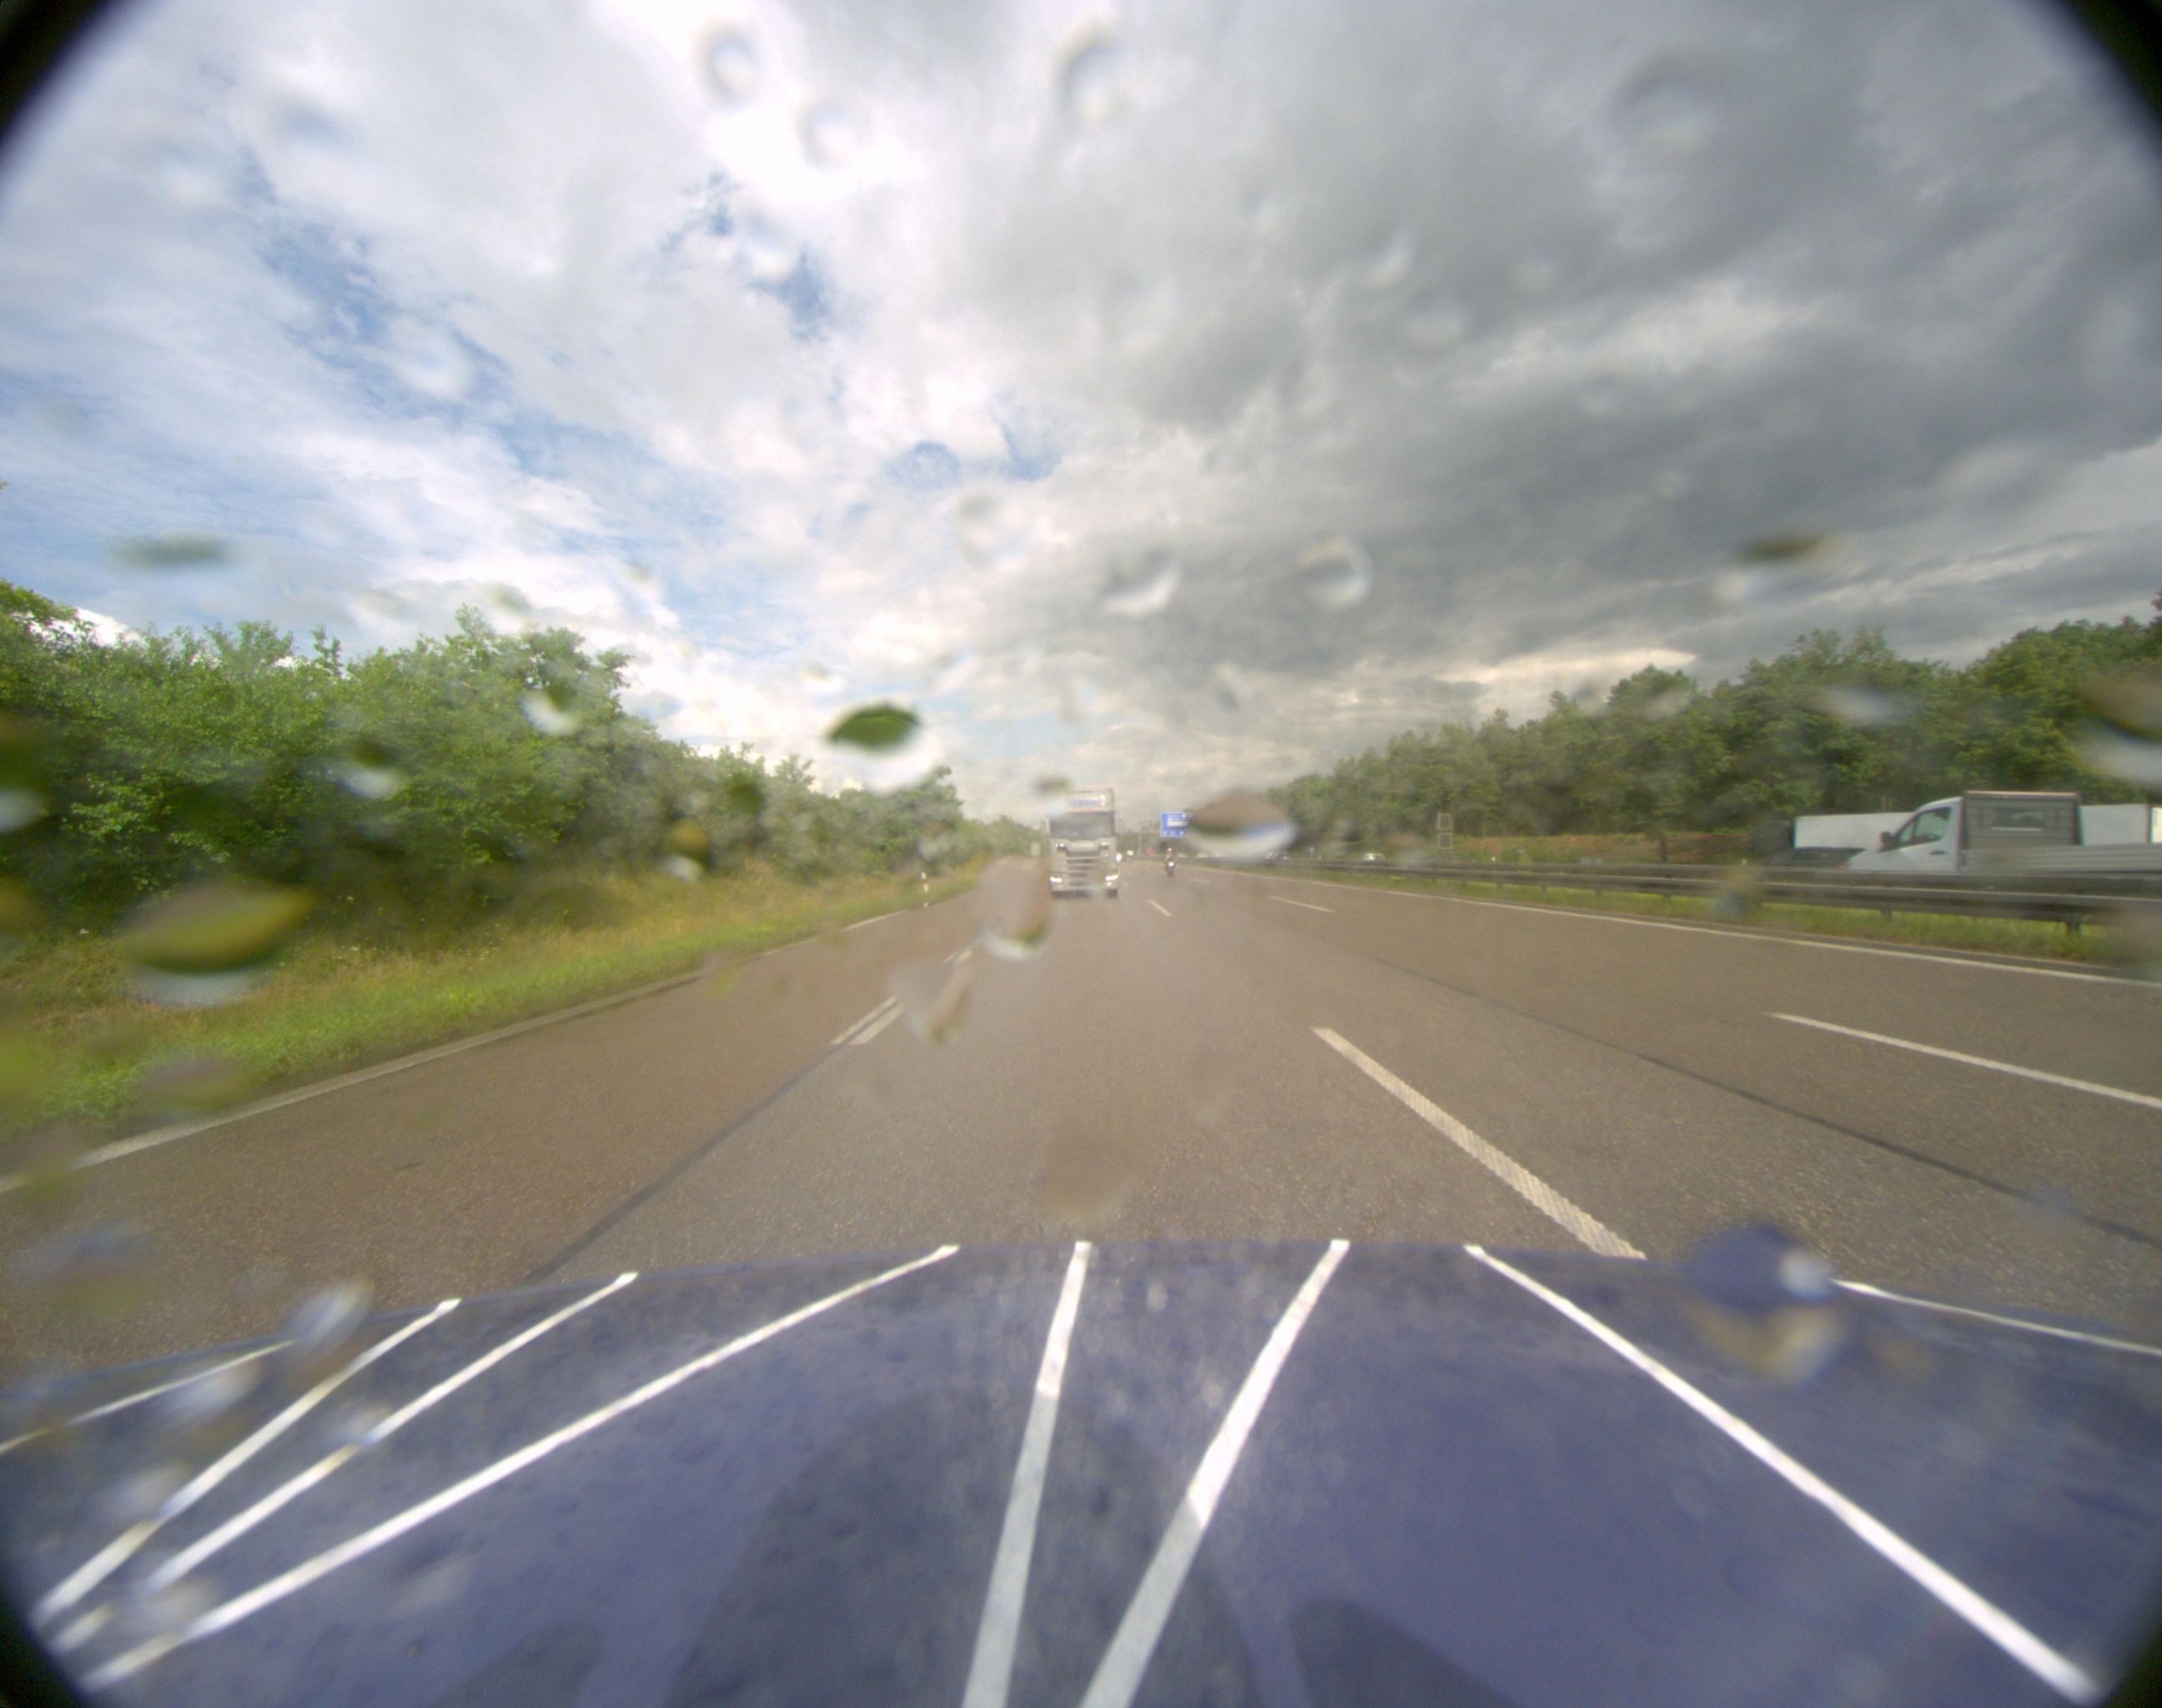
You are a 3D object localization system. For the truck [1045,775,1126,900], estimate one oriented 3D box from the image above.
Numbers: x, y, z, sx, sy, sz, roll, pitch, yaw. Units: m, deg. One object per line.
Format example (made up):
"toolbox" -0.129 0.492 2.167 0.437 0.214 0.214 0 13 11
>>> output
"truck" 0.020 -0.629 29.871 2.650 4.250 6.882 -2 1 -2

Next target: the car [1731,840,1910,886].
"car" 25.107 0.256 26.059 1.835 1.384 4.433 -2 1 1

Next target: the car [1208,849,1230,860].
"car" 17.962 0.048 99.359 1.903 1.384 5.420 -2 1 1

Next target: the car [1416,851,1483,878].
"car" 21.759 0.594 45.028 1.835 1.384 4.433 -2 1 1

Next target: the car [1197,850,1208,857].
"car" 21.755 -0.095 135.950 1.449 1.051 3.114 -2 1 1

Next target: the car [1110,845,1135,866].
"car" 5.423 0.148 100.150 2.650 2.460 6.882 -2 1 -2

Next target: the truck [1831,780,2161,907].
"truck" 17.115 -0.229 13.491 2.262 1.884 5.445 -2 1 1

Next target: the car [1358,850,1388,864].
"car" 25.864 0.257 67.367 1.449 1.051 3.114 -2 1 1

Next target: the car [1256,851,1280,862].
"car" 24.890 0.295 101.159 1.978 1.384 5.158 -2 1 1

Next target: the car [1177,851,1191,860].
"car" 18.380 0.301 135.638 1.903 1.384 5.420 -2 1 1

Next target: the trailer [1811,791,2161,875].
"trailer" 46.863 -0.960 39.920 3.215 3.717 12.554 -1 0 -13

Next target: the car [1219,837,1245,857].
"car" 25.664 -1.233 129.750 2.951 3.092 7.343 -2 1 1

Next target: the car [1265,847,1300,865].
"car" 17.608 0.133 66.589 1.835 1.384 4.433 -2 1 1

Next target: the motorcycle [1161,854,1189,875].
"motorcycle" 5.800 0.624 46.964 1.188 1.219 3.193 -2 1 -2

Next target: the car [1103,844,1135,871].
"car" 3.090 0.244 62.997 2.350 2.033 5.142 -2 1 1

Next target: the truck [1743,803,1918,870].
"truck" 45.347 -1.003 46.325 3.219 3.683 6.908 -3 1 -13

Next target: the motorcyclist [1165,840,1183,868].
"motorcyclist" 5.748 0.003 46.917 0.883 1.696 1.000 -2 1 -1
